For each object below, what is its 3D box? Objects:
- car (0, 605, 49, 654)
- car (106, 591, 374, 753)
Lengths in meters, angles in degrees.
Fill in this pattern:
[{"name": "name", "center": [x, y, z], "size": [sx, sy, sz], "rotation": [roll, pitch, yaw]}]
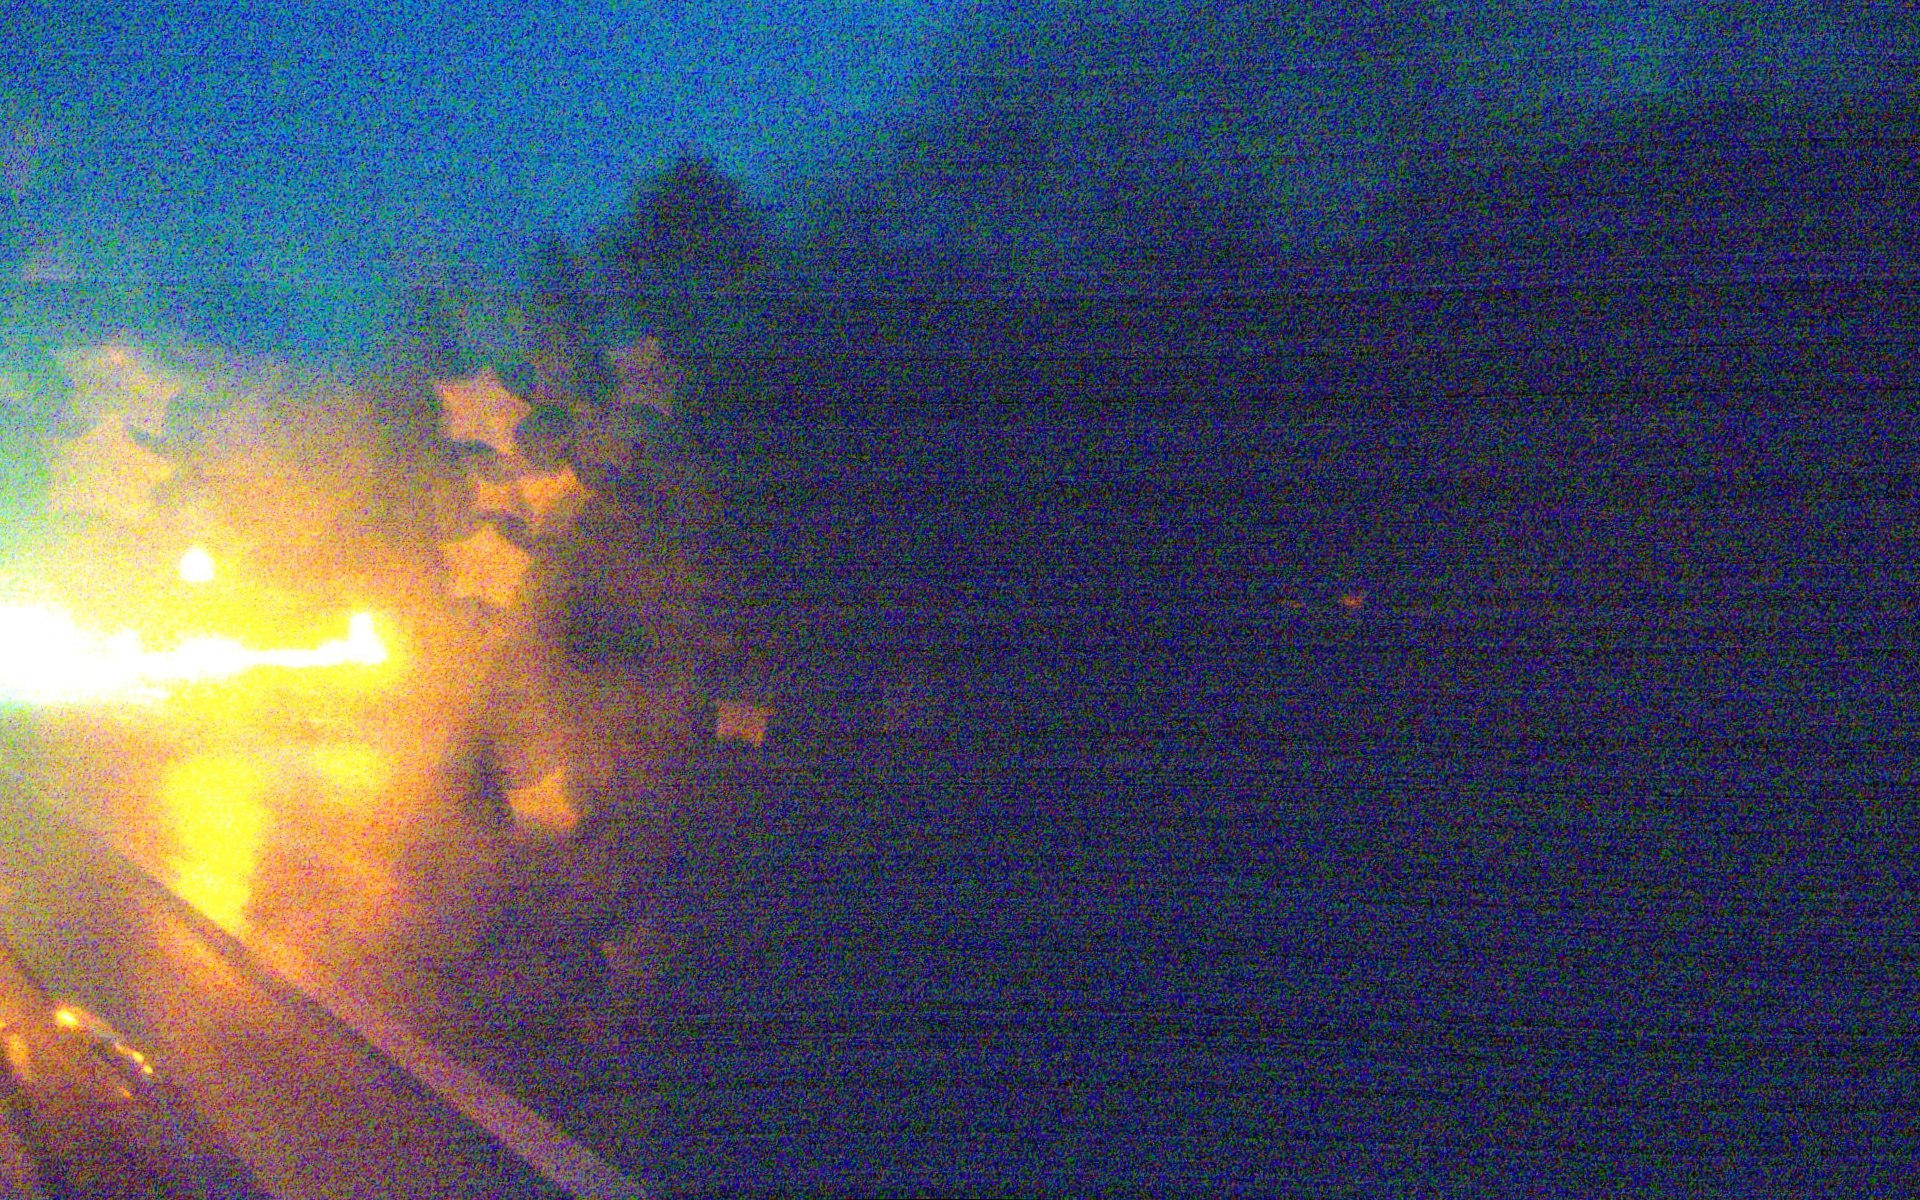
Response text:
[{"name": "car", "center": [-38.607, 1.165, 41.052], "size": [4.439, 1.874, 1.973], "rotation": [-1, 0, 41]}, {"name": "car", "center": [-9.277, 0.798, 12.928], "size": [3.998, 1.741, 1.926], "rotation": [-1, 0, 41]}]
